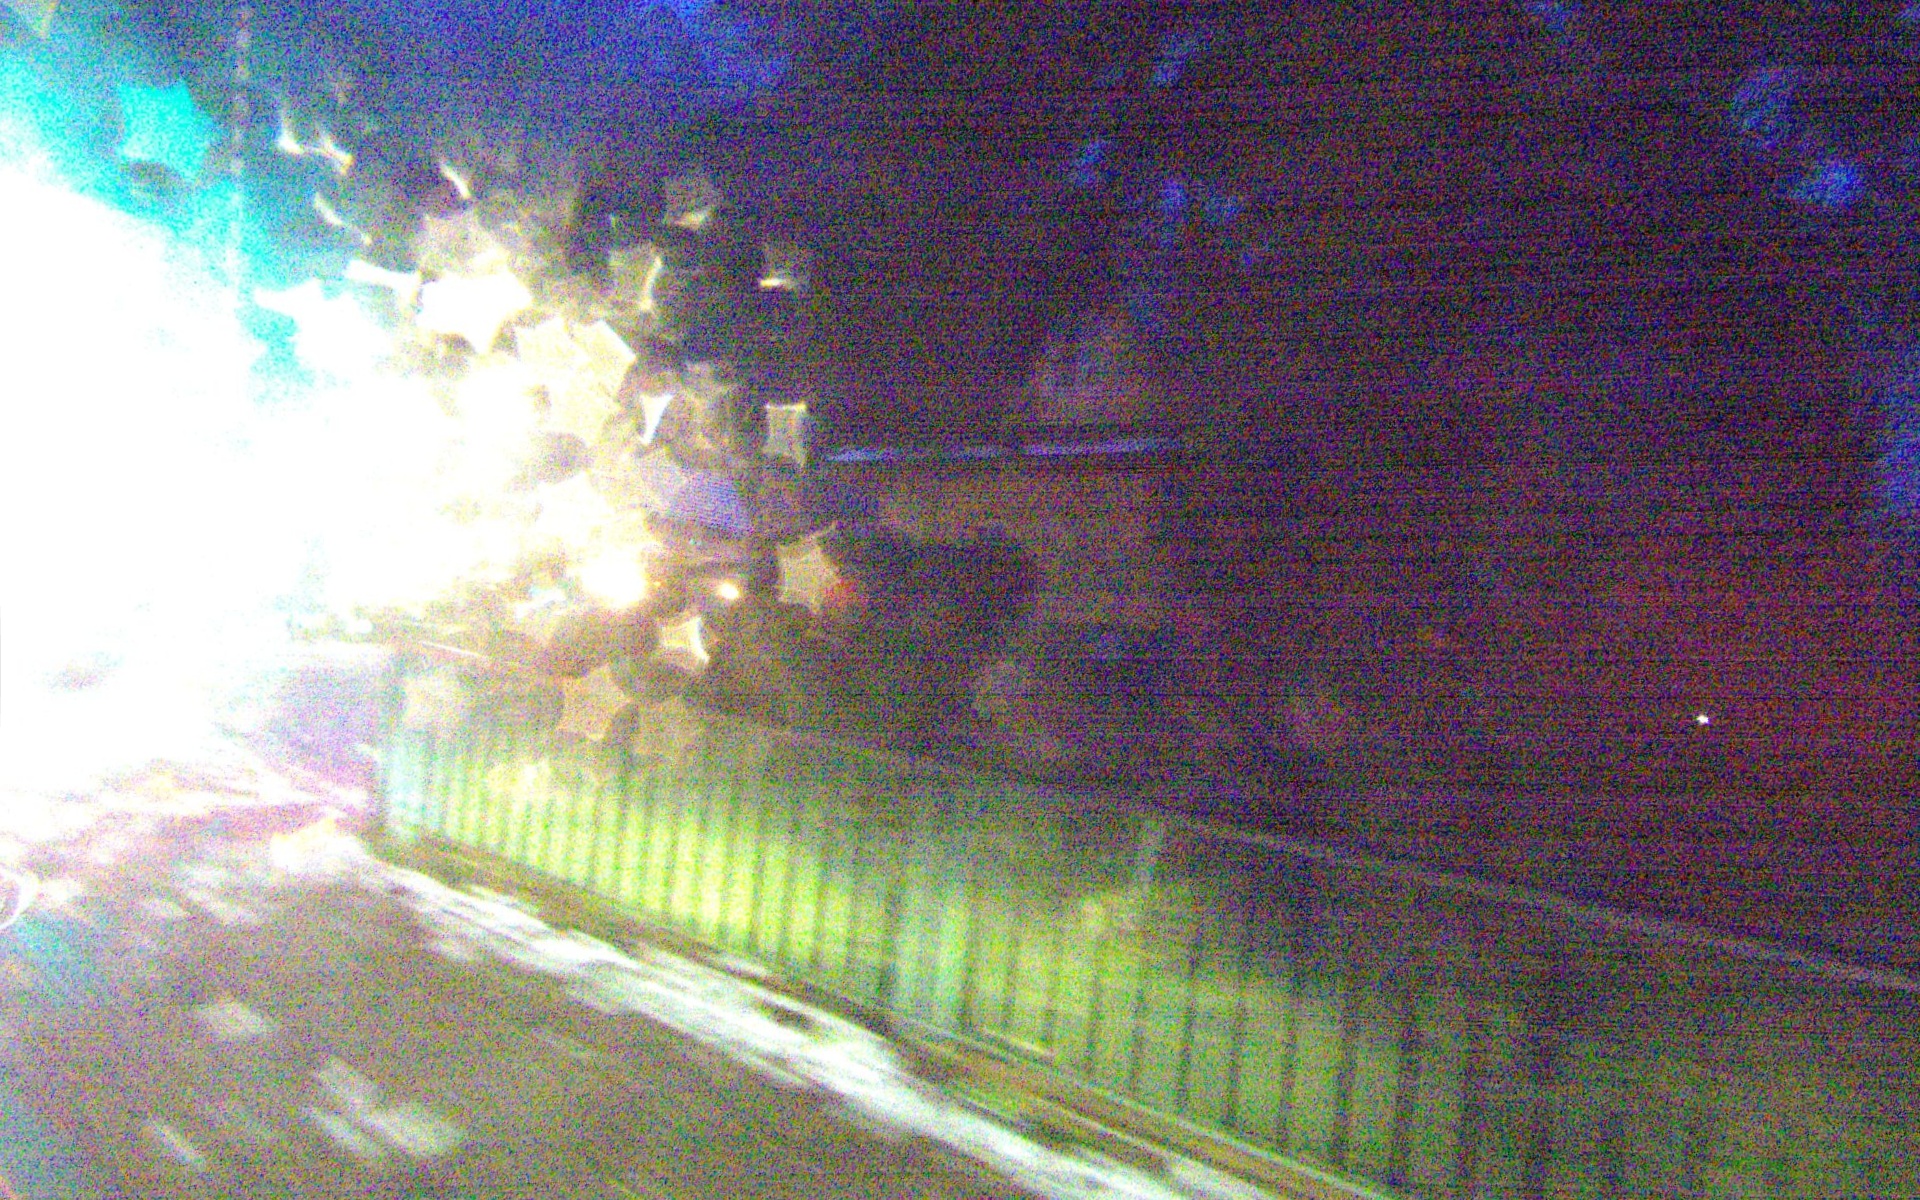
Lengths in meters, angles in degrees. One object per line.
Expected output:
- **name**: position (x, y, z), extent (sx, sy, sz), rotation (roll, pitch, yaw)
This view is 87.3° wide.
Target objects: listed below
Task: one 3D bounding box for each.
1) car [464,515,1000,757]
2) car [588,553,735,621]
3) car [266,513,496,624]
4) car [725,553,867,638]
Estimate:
- **car**: position (-1.823, 0.351, 9.275), extent (1.912, 1.606, 4.460), rotation (8, 1, 41)
- **car**: position (-9.850, -0.403, 33.410), extent (1.953, 1.533, 4.193), rotation (5, -4, 40)
- **car**: position (-13.698, -0.689, 24.028), extent (1.749, 1.970, 4.244), rotation (8, -1, 36)
- **car**: position (-6.150, -0.120, 38.140), extent (2.144, 2.468, 4.844), rotation (5, -4, 41)
